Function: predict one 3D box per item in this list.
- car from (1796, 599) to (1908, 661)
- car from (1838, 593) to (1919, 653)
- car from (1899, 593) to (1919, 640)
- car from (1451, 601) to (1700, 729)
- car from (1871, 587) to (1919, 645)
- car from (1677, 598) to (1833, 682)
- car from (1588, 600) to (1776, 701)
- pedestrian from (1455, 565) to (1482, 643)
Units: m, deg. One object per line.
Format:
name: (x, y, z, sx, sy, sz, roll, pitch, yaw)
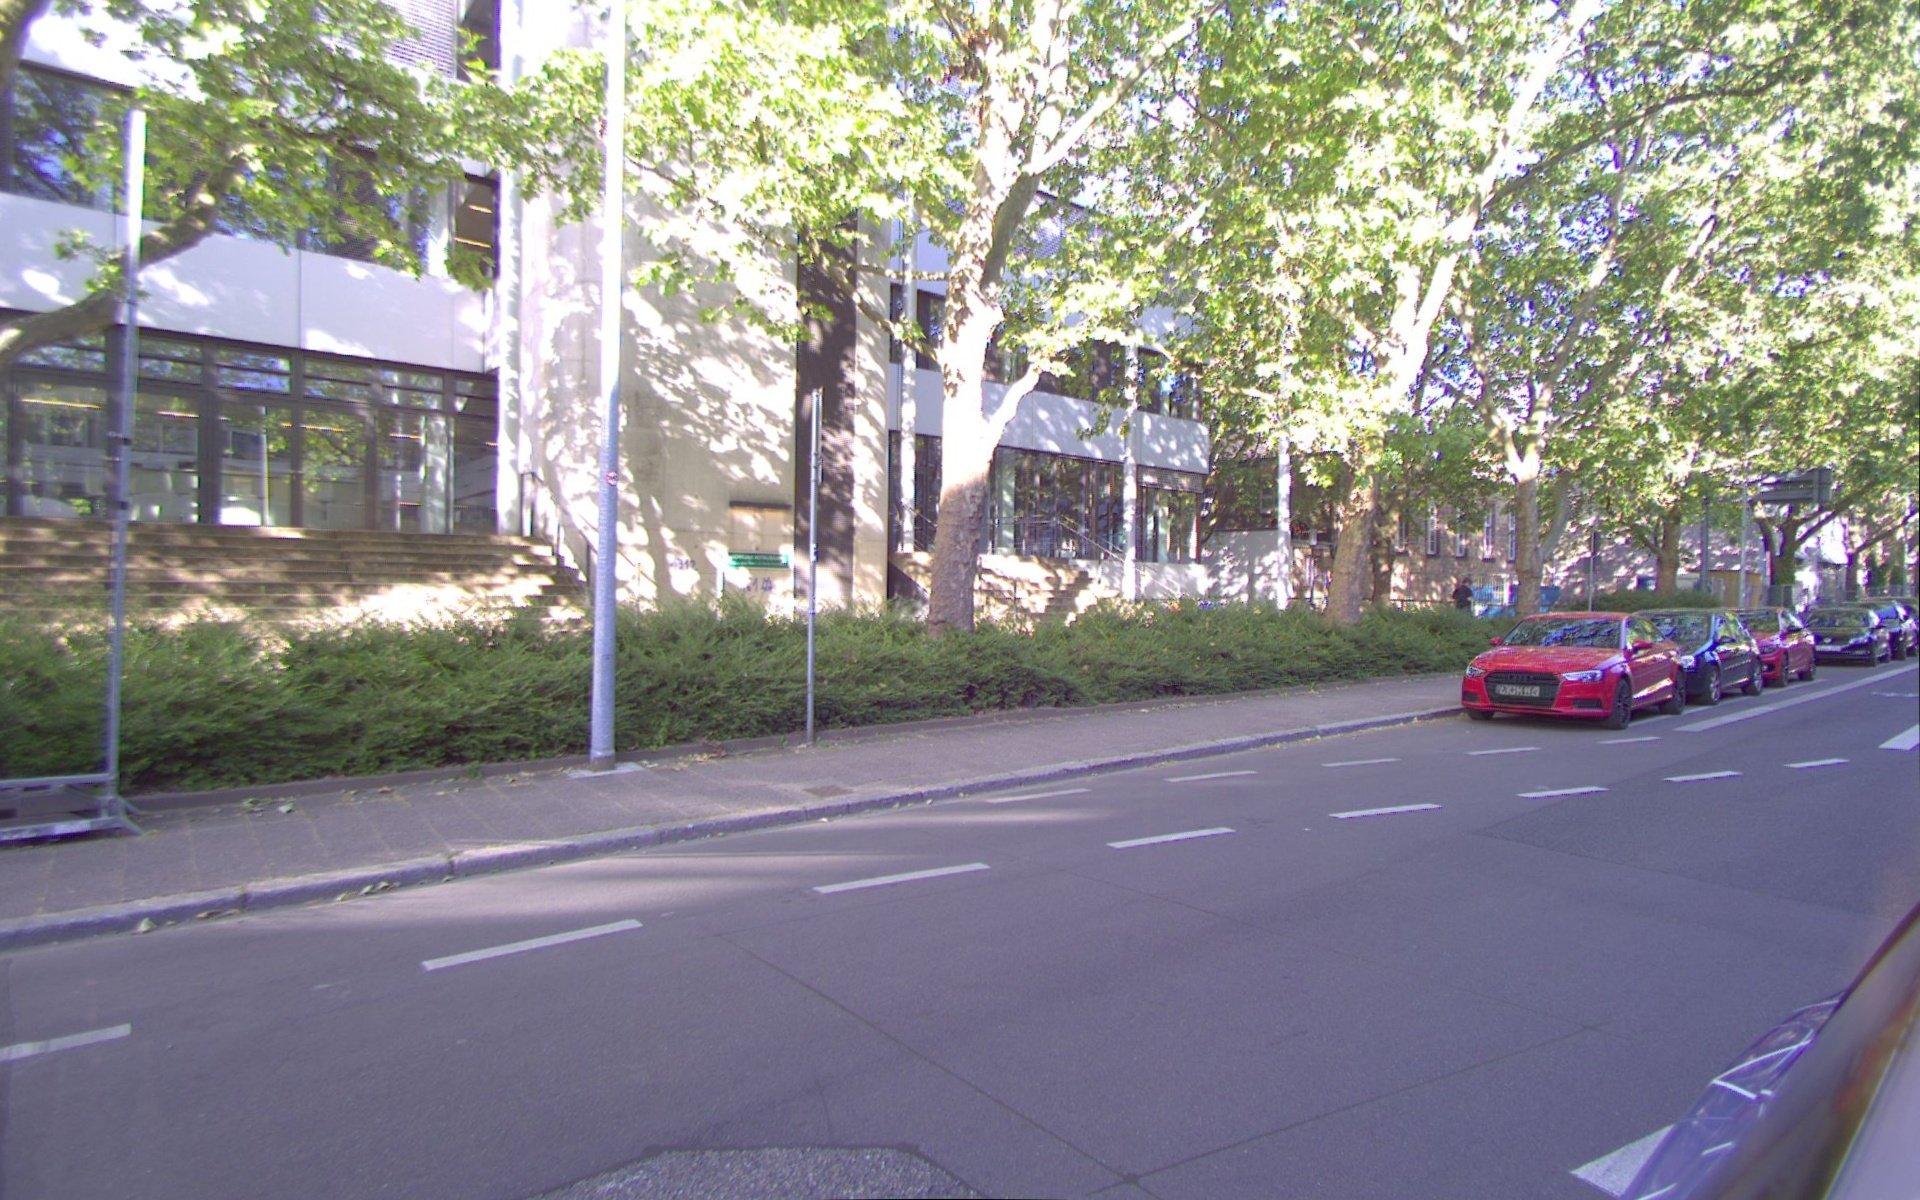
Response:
car: (22.943, 0.712, 25.984, 3.855, 1.441, 1.691, -1, 0, -41)
car: (26.629, 0.604, 29.041, 4.158, 1.598, 1.632, -1, 0, -41)
car: (35.531, 0.572, 36.781, 4.497, 1.633, 1.632, -1, 0, -41)
car: (8.296, 0.738, 13.512, 3.931, 1.409, 1.792, -1, 0, -42)
car: (31.167, 0.473, 33.010, 4.497, 1.814, 1.632, -1, 0, -41)
car: (15.739, 0.709, 19.969, 3.854, 1.467, 1.691, -1, 0, -40)
car: (11.851, 0.731, 16.542, 3.632, 1.436, 1.668, -1, 0, -40)
pedestrian: (13.445, 0.091, 26.769, 0.549, 2.039, 0.555, 0, 0, 38)
